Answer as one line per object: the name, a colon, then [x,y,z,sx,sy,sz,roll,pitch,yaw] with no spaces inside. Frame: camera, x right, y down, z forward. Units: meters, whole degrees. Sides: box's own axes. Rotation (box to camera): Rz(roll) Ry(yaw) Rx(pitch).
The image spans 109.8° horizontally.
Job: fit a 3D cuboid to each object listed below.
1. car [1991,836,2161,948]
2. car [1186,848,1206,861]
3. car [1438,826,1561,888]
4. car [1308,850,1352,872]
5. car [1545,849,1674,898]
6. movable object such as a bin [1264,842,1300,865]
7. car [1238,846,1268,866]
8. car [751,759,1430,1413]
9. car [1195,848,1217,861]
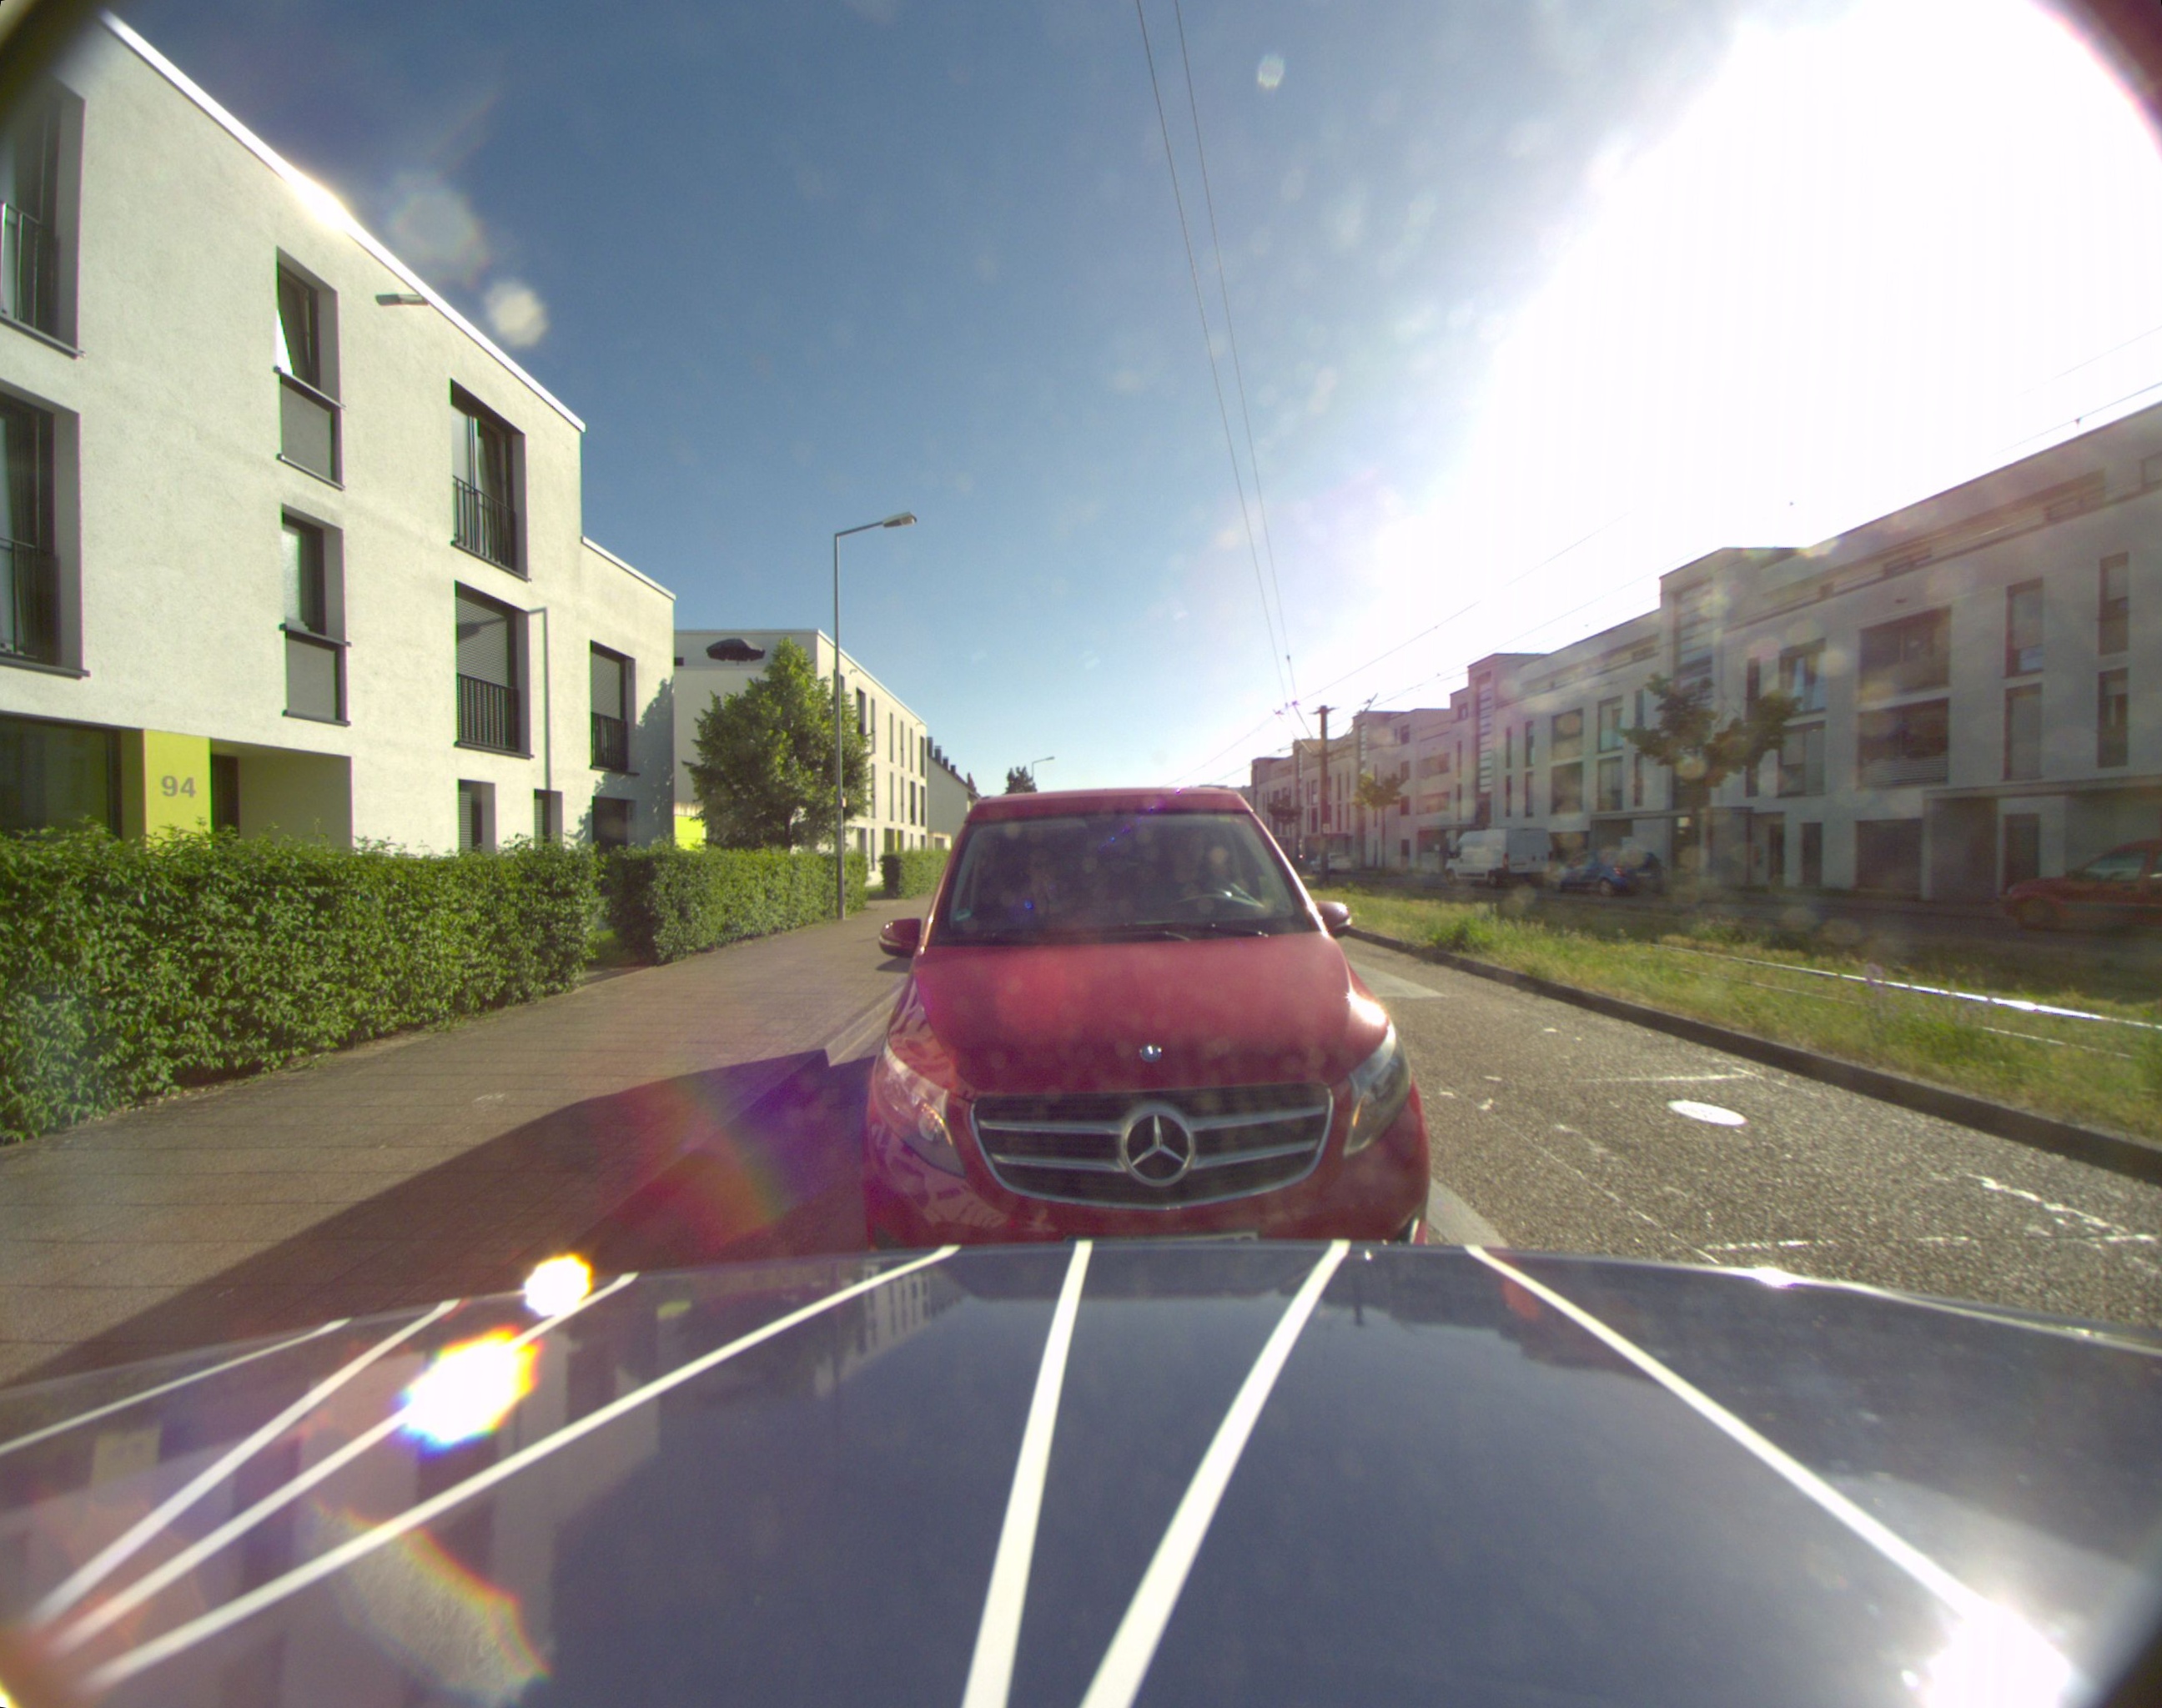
car: [18.573,0.606,12.813,1.885,1.785,3.837,-2,0,1]
car: [15.041,0.067,99.583,1.766,1.590,4.155,-2,0,-4]
car: [18.149,0.093,33.348,2.146,2.430,5.588,-2,0,-1]
car: [17.538,0.461,53.724,1.521,1.424,4.155,-2,0,-4]
car: [18.250,0.619,26.481,1.829,1.528,3.842,-2,0,0]
movable object such as a bin: [17.674,-0.031,66.882,1.766,1.926,4.155,-2,0,-4]
car: [16.752,0.151,74.261,1.766,1.859,4.155,-2,0,-4]
car: [0.088,0.703,4.902,1.979,1.922,5.205,-2,0,1]
car: [15.429,0.072,93.948,1.766,1.590,4.155,-2,0,-4]
